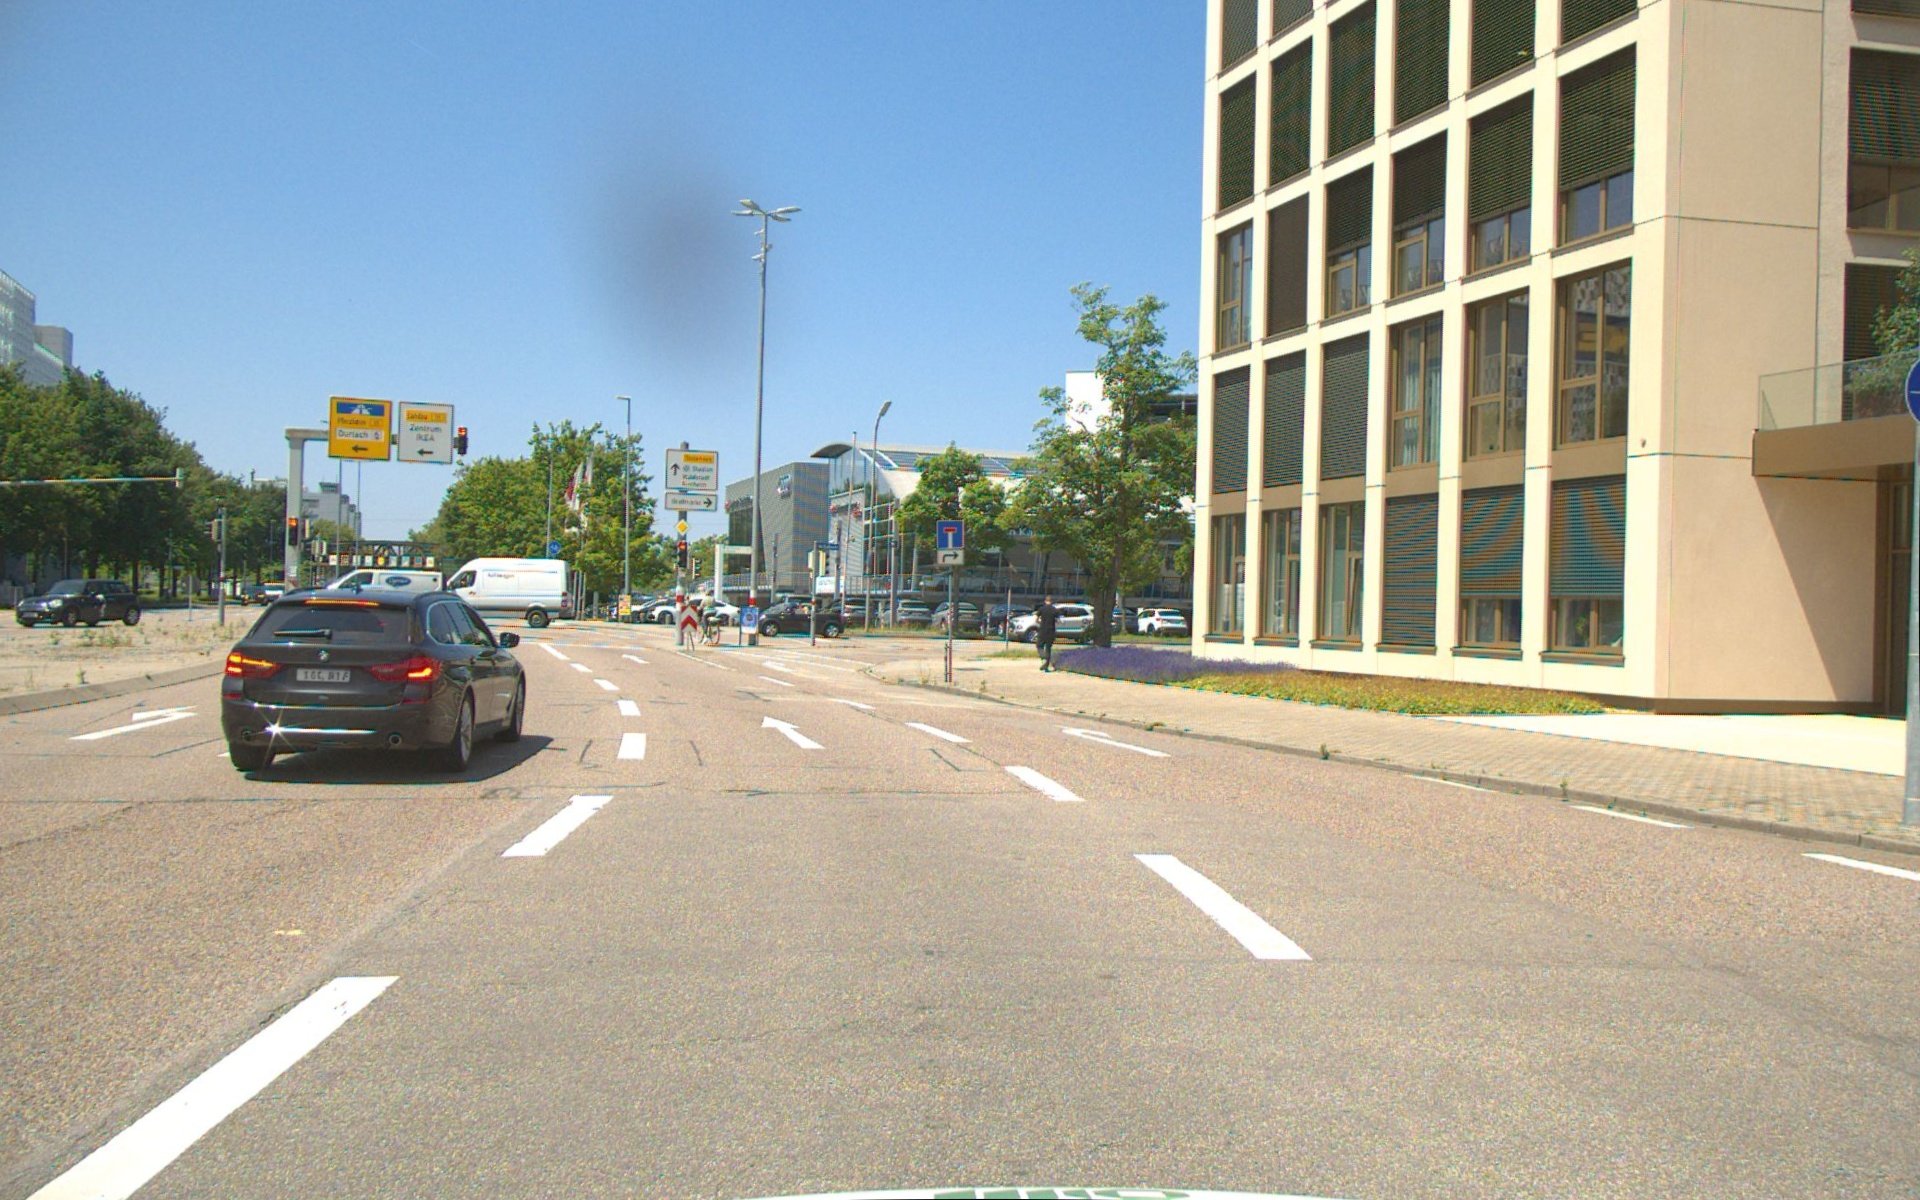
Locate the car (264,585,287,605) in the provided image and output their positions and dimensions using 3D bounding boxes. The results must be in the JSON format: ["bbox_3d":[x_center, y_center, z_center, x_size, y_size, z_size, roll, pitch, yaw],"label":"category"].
[{"bbox_3d":[-67.612,-0.522,163.382,1.774,1.886,3.977,3,-1,-19],"label":"car"}]

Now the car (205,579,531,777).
[{"bbox_3d":[-5.075,0.566,14.840,1.766,1.491,4.616,1,1,-7],"label":"car"}]

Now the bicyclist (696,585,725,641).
[{"bbox_3d":[-8.243,0.426,54.691,0.723,1.779,0.748,3,0,-23],"label":"bicyclist"}]

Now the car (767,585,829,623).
[{"bbox_3d":[-7.613,0.169,77.331,1.963,1.668,4.246,2,1,-19],"label":"car"}]

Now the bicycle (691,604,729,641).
[{"bbox_3d":[-8.302,0.737,54.892,0.775,1.147,1.908,2,0,-22],"label":"bicycle"}]

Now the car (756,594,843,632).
[{"bbox_3d":[-6.469,0.514,66.647,3.308,1.381,1.619,2,0,-12],"label":"car"}]

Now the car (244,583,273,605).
[{"bbox_3d":[-60.163,-0.520,141.835,1.964,1.777,3.977,3,-1,-20],"label":"car"}]

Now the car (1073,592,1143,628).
[{"bbox_3d":[7.325,0.467,82.298,1.800,1.668,4.451,1,1,-19],"label":"car"}]

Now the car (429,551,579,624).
[{"bbox_3d":[-18.030,-0.478,65.633,5.387,2.611,1.996,2,-1,-8],"label":"car"}]

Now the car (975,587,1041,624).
[{"bbox_3d":[2.299,0.261,80.776,1.800,1.668,4.451,1,1,-19],"label":"car"}]

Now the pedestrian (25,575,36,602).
[{"bbox_3d":[-54.151,-0.670,96.364,0.454,1.508,0.481,1,-1,-15],"label":"pedestrian"}]

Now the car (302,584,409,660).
[{"bbox_3d":[-12.200,0.407,33.608,1.720,1.414,4.512,1,0,-17],"label":"car"}]

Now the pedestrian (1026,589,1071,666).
[{"bbox_3d":[2.198,0.676,41.125,0.760,1.877,0.862,0,0,44],"label":"pedestrian"}]

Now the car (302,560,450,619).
[{"bbox_3d":[-20.820,-0.371,58.983,4.764,1.883,1.822,3,-1,-26],"label":"car"}]

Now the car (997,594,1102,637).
[{"bbox_3d":[3.740,0.658,69.250,4.117,1.680,1.712,1,0,-9],"label":"car"}]

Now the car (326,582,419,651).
[{"bbox_3d":[-14.303,0.379,40.143,1.774,1.520,3.970,2,0,-24],"label":"car"}]

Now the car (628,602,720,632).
[{"bbox_3d":[-15.573,0.938,90.117,4.672,1.482,1.988,2,1,-21],"label":"car"}]

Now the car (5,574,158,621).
[{"bbox_3d":[-26.467,-0.089,49.941,1.817,1.325,3.895,1,1,19],"label":"car"}]

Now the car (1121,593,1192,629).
[{"bbox_3d":[9.845,0.558,83.326,1.800,1.668,4.451,1,1,-19],"label":"car"}]

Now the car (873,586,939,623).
[{"bbox_3d":[-2.618,0.192,78.996,1.963,1.668,4.418,1,1,-19],"label":"car"}]

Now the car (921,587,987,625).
[{"bbox_3d":[-0.345,0.260,79.682,1.856,1.668,4.501,1,1,-19],"label":"car"}]

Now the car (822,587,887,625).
[{"bbox_3d":[-5.007,0.266,78.141,1.963,1.668,4.534,1,1,-19],"label":"car"}]

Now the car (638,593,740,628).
[{"bbox_3d":[-13.099,0.505,79.938,4.666,1.482,1.991,2,0,-17],"label":"car"}]
